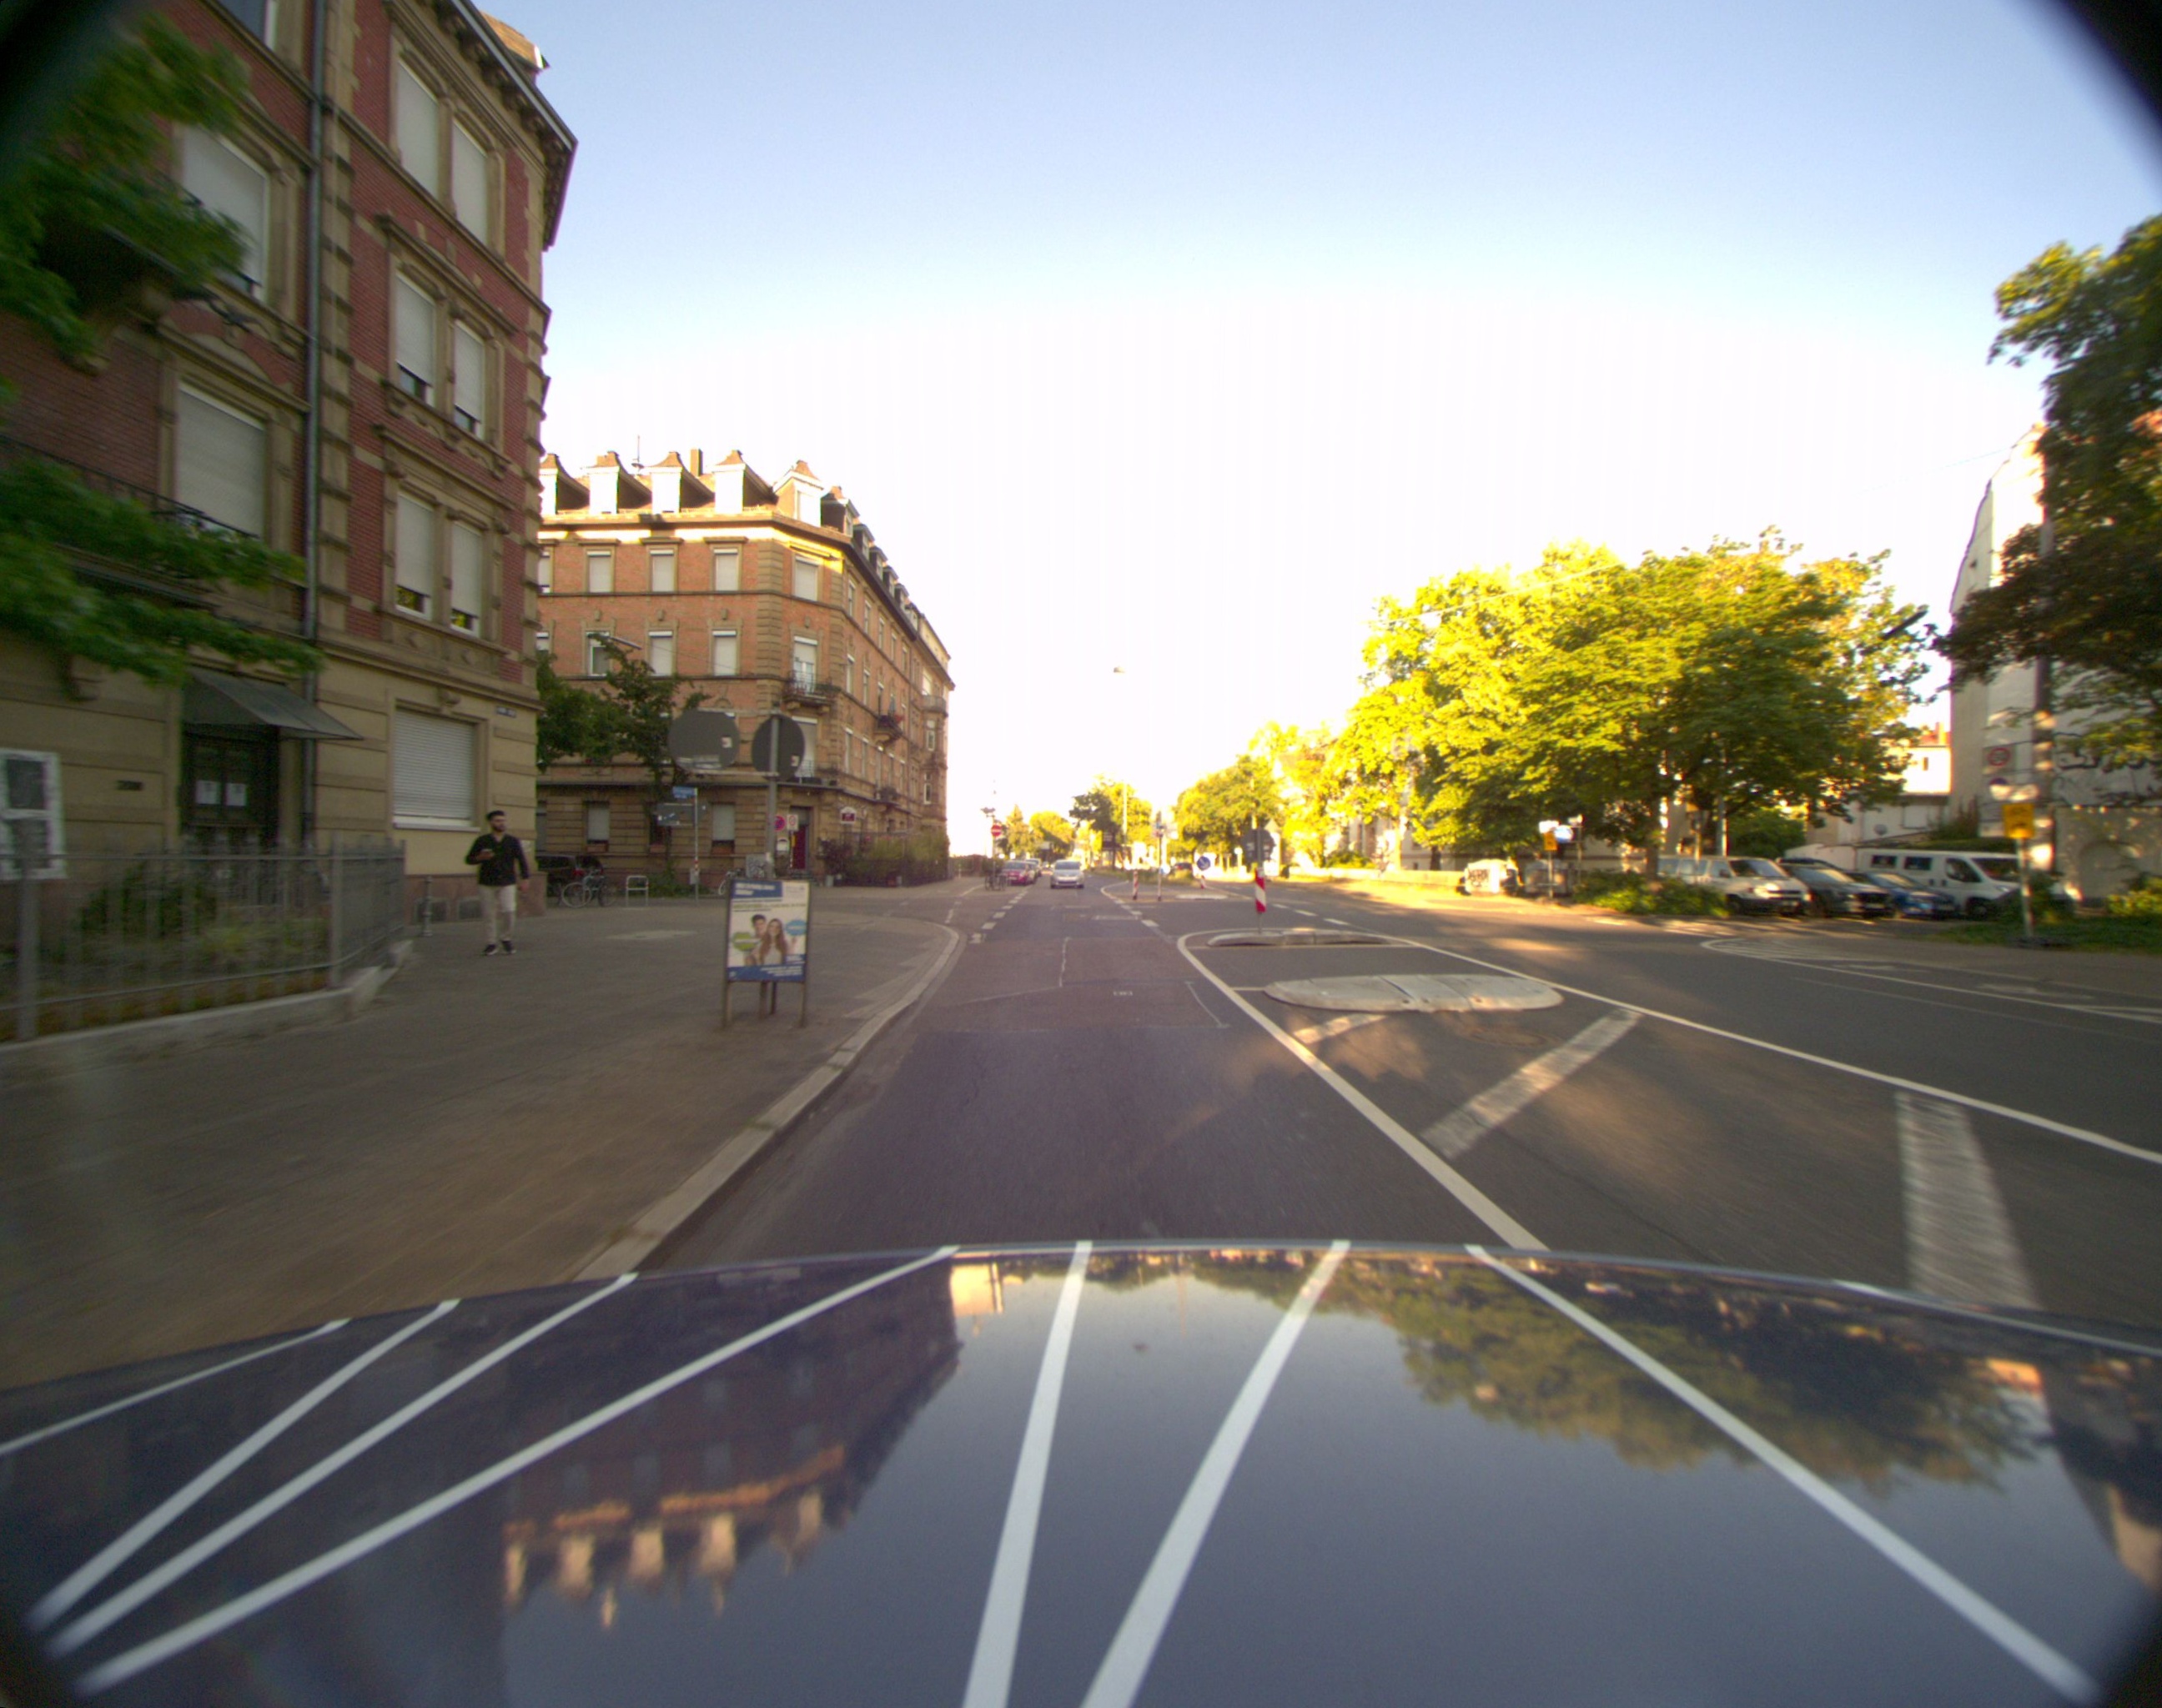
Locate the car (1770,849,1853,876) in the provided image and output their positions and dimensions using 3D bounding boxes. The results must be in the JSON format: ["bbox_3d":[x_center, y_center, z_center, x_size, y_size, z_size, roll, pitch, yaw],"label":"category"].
[{"bbox_3d":[51.740,0.588,53.938,4.102,1.817,1.966,0,0,38],"label":"car"}]

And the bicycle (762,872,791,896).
[{"bbox_3d":[-11.640,1.129,29.100,0.295,0.812,1.498,-1,2,8],"label":"bicycle"}]

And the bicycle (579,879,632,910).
[{"bbox_3d":[-13.036,1.104,20.880,0.295,0.812,1.499,-2,-3,11],"label":"bicycle"}]

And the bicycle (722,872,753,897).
[{"bbox_3d":[-13.124,1.152,29.045,0.295,0.812,1.498,-1,2,8],"label":"bicycle"}]

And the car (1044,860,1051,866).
[{"bbox_3d":[-9.391,2.548,210.661,1.948,1.514,4.162,1,-1,-3],"label":"car"}]

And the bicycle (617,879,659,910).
[{"bbox_3d":[-12.184,1.114,20.948,0.292,0.812,1.498,-2,-3,-1],"label":"bicycle"}]

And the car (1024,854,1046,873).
[{"bbox_3d":[-4.864,1.007,81.249,1.892,1.907,5.179,4,0,0],"label":"car"}]

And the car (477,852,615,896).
[{"bbox_3d":[-20.386,0.745,29.057,3.996,1.597,1.849,0,0,3],"label":"car"}]

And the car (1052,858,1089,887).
[{"bbox_3d":[-0.614,0.972,41.395,1.896,1.454,3.965,1,-1,-2],"label":"car"}]

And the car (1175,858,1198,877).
[{"bbox_3d":[10.215,1.261,73.964,1.880,1.696,4.569,3,0,4],"label":"car"}]

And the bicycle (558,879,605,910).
[{"bbox_3d":[-13.506,1.097,20.596,0.295,0.812,1.498,-2,-3,-1],"label":"bicycle"}]

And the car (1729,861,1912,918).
[{"bbox_3d":[23.754,1.080,24.656,1.999,1.652,3.999,-1,0,-1],"label":"car"}]

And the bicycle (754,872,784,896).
[{"bbox_3d":[-11.955,1.145,29.134,0.295,0.812,1.498,-1,2,8],"label":"bicycle"}]

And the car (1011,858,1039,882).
[{"bbox_3d":[-3.661,1.044,50.160,1.681,1.418,3.675,4,0,-3],"label":"car"}]

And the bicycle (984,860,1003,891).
[{"bbox_3d":[-4.081,0.986,35.526,0.567,1.268,2.264,4,1,-1],"label":"bicycle"}]

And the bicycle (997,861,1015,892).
[{"bbox_3d":[-3.502,1.025,35.549,0.567,1.292,2.264,4,1,-1],"label":"bicycle"}]

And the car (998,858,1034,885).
[{"bbox_3d":[-3.836,0.995,45.347,1.730,1.456,3.546,4,0,0],"label":"car"}]

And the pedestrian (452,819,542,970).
[{"bbox_3d":[-7.302,0.480,9.492,0.749,1.768,0.829,3,0,-42],"label":"pedestrian"}]

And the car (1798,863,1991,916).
[{"bbox_3d":[26.376,1.085,24.863,1.999,1.530,3.999,-1,0,-1],"label":"car"}]

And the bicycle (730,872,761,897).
[{"bbox_3d":[-12.801,1.150,29.023,0.295,0.812,1.498,-1,2,8],"label":"bicycle"}]

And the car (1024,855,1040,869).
[{"bbox_3d":[-6.585,1.070,102.310,1.779,1.818,4.555,3,0,-1],"label":"car"}]

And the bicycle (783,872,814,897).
[{"bbox_3d":[-10.701,1.138,28.844,0.295,0.812,1.735,-1,2,8],"label":"bicycle"}]

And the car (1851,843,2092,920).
[{"bbox_3d":[28.922,0.826,25.031,2.220,2.275,5.100,-1,0,5],"label":"car"}]

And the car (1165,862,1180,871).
[{"bbox_3d":[15.186,2.024,125.954,1.779,1.266,4.007,4,0,-1],"label":"car"}]

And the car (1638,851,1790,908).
[{"bbox_3d":[21.453,0.808,26.004,1.823,1.784,3.999,-1,0,-1],"label":"car"}]
